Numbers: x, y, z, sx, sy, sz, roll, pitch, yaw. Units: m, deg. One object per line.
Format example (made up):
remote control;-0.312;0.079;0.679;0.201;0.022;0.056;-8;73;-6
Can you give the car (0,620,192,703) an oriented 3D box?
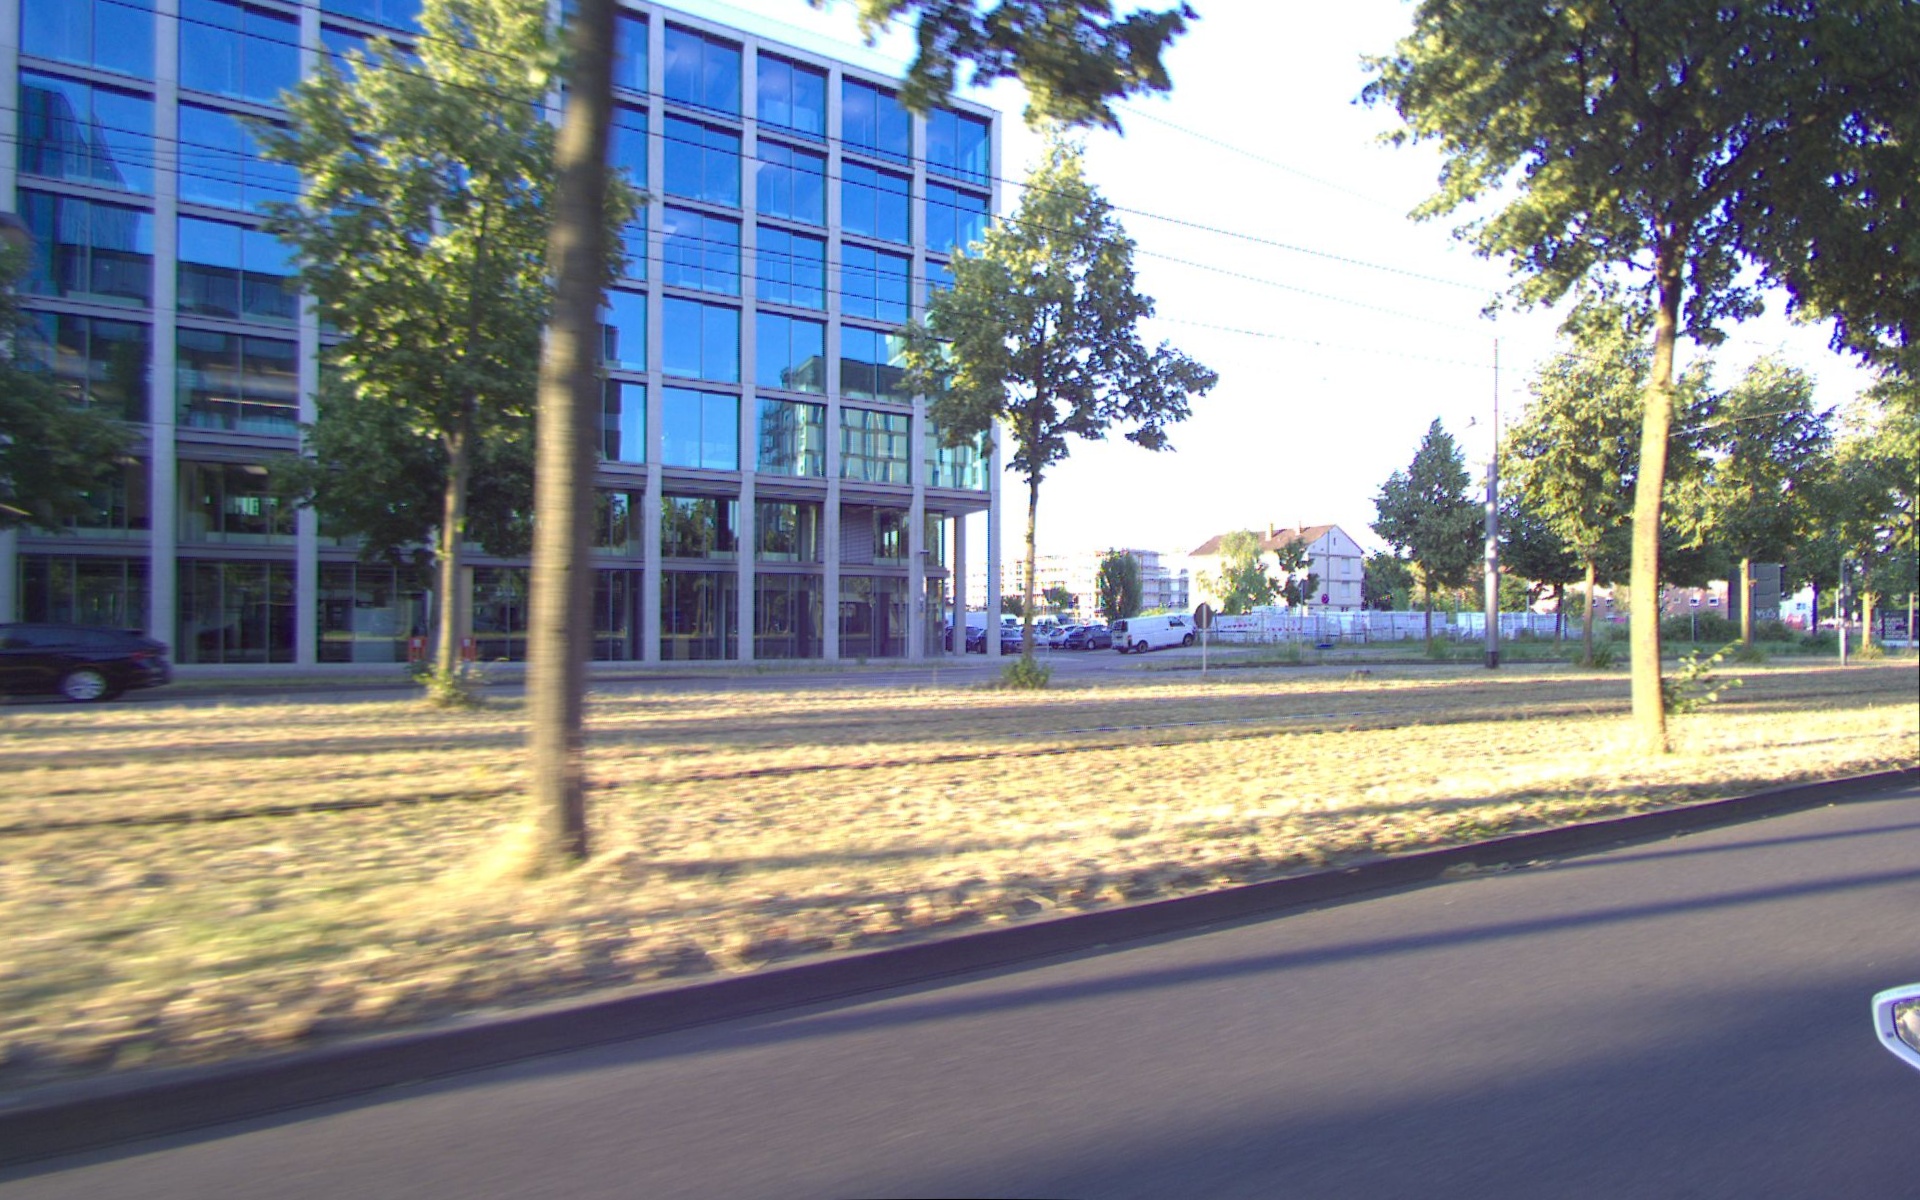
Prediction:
car;-16.937;1.094;18.390;4.337;1.441;1.922;1;-1;-31

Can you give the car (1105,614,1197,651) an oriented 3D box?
car;10.957;1.827;57.483;5.023;2.040;2.196;1;-1;-30

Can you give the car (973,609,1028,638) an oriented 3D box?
car;3.852;2.320;97.596;2.290;2.718;6.161;1;-1;-33

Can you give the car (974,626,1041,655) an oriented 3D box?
car;2.497;2.122;53.338;1.869;1.465;3.973;1;-1;-26

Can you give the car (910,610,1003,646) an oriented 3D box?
car;-0.236;2.265;80.805;7.225;2.802;2.456;1;-1;-31

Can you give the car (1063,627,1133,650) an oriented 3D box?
car;8.602;2.375;62.524;3.952;1.437;1.984;1;-1;-30

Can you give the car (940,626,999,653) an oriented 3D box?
car;0.523;2.245;58.005;1.869;1.465;3.975;1;-1;-26

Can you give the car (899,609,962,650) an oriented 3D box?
car;-1.921;1.839;63.446;1.946;2.500;5.465;1;-1;-25

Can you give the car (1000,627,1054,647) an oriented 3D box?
car;5.351;2.912;80.180;3.954;1.530;1.788;1;-1;-31

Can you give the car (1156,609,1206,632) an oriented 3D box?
car;19.406;1.789;88.201;4.263;2.008;1.788;1;-1;-31

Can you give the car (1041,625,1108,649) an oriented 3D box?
car;7.441;2.373;65.452;3.952;1.530;1.984;1;-1;-30
